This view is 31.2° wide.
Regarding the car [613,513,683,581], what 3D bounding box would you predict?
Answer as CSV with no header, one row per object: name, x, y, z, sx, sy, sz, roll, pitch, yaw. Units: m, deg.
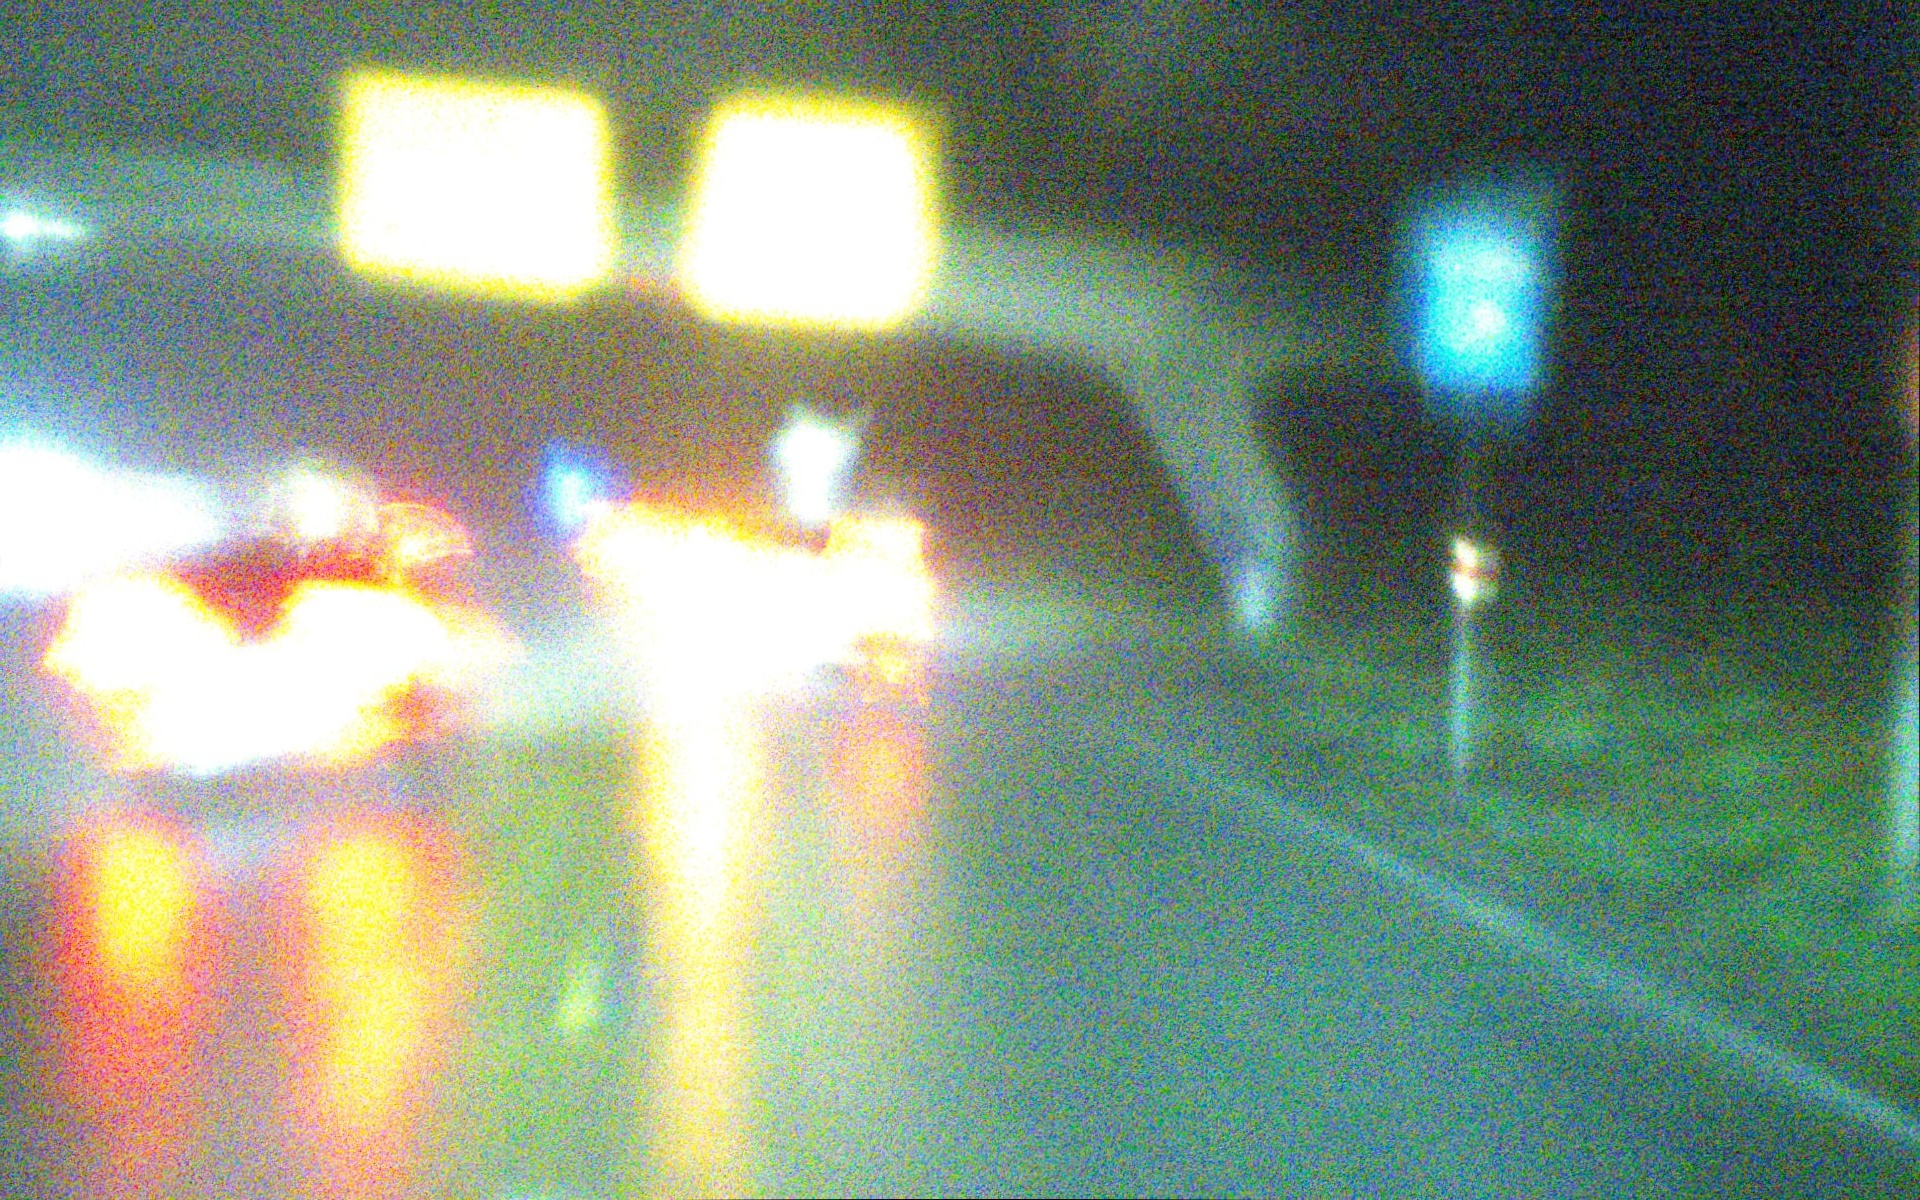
car,-9.634,-1.604,106.296,1.993,2.007,4.000,1,0,-4

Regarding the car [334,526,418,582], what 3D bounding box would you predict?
car,-16.661,-1.305,98.196,1.895,1.539,4.001,1,0,-3

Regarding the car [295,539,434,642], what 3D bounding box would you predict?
car,-9.491,-0.158,55.046,1.892,1.545,4.001,1,0,-6

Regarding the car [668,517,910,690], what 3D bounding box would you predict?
car,-1.461,0.030,30.865,1.962,1.376,4.049,2,0,-1

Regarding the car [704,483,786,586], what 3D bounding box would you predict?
car,-4.372,-1.337,70.288,1.553,2.007,4.001,1,1,-3
